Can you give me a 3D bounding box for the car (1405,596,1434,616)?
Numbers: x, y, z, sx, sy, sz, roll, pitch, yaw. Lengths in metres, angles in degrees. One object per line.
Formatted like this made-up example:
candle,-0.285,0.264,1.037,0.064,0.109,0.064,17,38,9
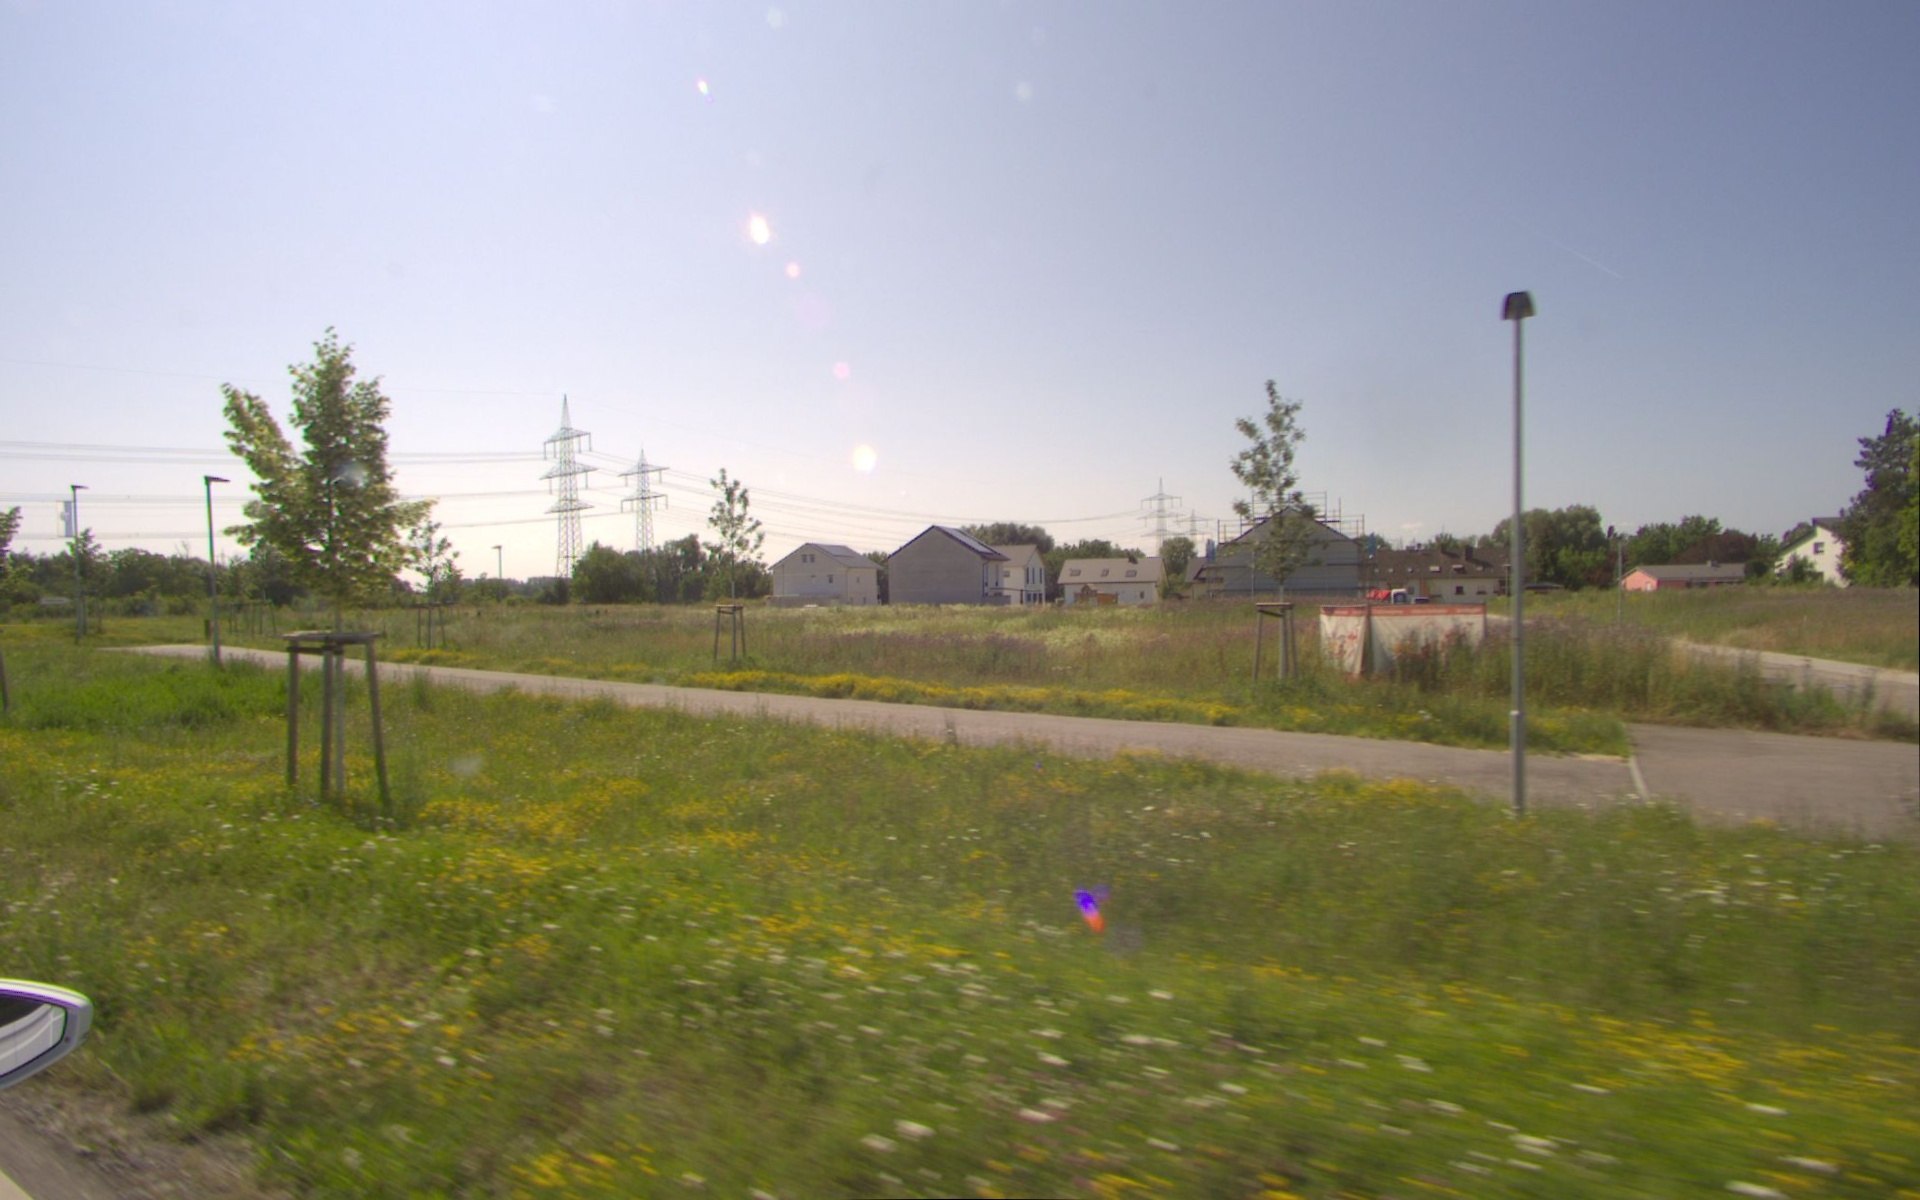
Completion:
car,39.391,0.527,85.823,1.711,1.540,3.992,-1,2,17
